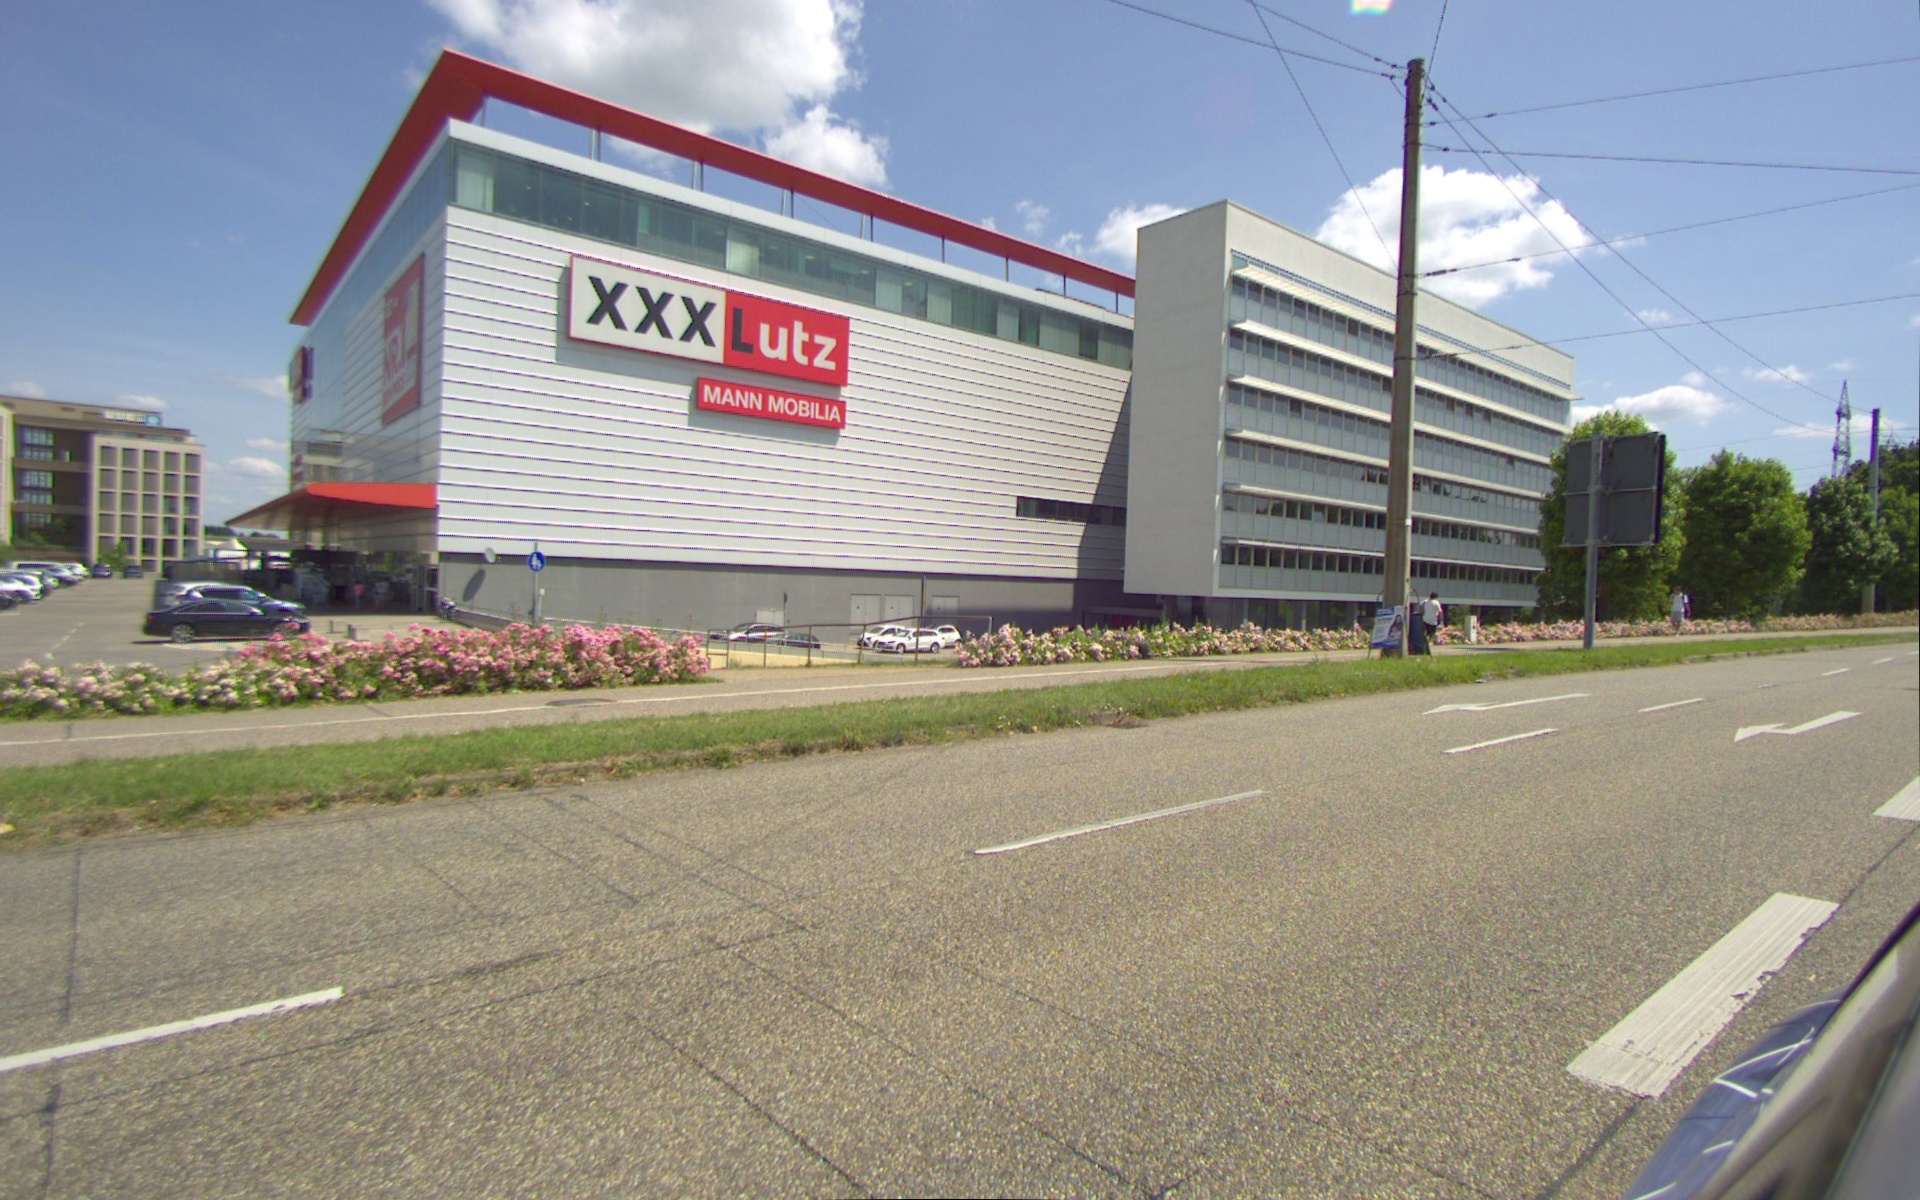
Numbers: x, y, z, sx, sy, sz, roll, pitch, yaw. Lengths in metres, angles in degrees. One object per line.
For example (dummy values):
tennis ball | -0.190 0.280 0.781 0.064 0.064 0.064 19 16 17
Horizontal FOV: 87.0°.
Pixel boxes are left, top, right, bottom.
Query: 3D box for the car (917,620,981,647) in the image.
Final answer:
car | -0.734 2.209 67.086 3.930 1.632 1.997 0 1 -41

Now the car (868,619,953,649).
car | -3.014 2.052 61.805 5.057 1.632 1.997 0 1 -41

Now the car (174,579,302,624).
car | -30.342 0.067 42.590 4.257 1.804 1.997 0 -1 -41

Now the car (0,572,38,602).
car | -54.467 -0.720 56.055 4.913 1.631 1.997 0 0 -41

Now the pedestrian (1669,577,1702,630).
pedestrian | 26.120 0.120 36.440 0.913 1.872 0.758 0 0 -38

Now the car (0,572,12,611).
car | -48.473 -0.421 47.981 5.094 1.888 1.996 0 0 -42

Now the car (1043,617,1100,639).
car | 8.184 2.049 74.033 3.930 1.465 1.997 0 1 -41

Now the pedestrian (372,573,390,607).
pedestrian | -32.692 -0.550 57.132 0.723 1.893 0.741 0 0 -42

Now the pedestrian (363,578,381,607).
pedestrian | -32.557 -0.407 56.064 0.723 1.577 0.741 0 0 -42

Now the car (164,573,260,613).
car | -39.068 -0.392 52.892 3.930 2.039 1.997 -1 1 -41

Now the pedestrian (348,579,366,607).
pedestrian | -33.592 -0.401 56.389 0.723 1.577 0.741 0 0 -42

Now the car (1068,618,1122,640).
car | 9.661 2.064 72.137 3.930 1.403 1.646 0 1 -41

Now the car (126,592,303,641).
car | -26.255 0.532 35.749 4.913 1.631 1.997 0 0 -41

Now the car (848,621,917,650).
car | -4.876 2.214 63.771 3.930 1.632 1.997 0 1 -41

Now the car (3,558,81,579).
car | -78.820 -2.690 86.992 4.913 1.631 1.997 0 0 -41

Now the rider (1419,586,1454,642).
rider | 12.810 0.361 27.223 0.607 1.476 0.670 0 0 -41

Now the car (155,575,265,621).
car | -34.311 -0.119 46.347 3.930 2.039 1.997 -1 1 -41

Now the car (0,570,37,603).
car | -59.400 -0.831 62.156 3.930 2.039 1.997 -1 1 -41

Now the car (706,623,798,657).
car | -11.288 2.150 55.018 4.509 1.632 1.997 0 1 -41

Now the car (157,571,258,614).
car | -37.639 -0.386 50.661 3.930 2.039 1.997 0 0 -41

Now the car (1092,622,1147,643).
car | 11.090 2.231 70.211 3.930 1.338 1.607 0 1 -41
